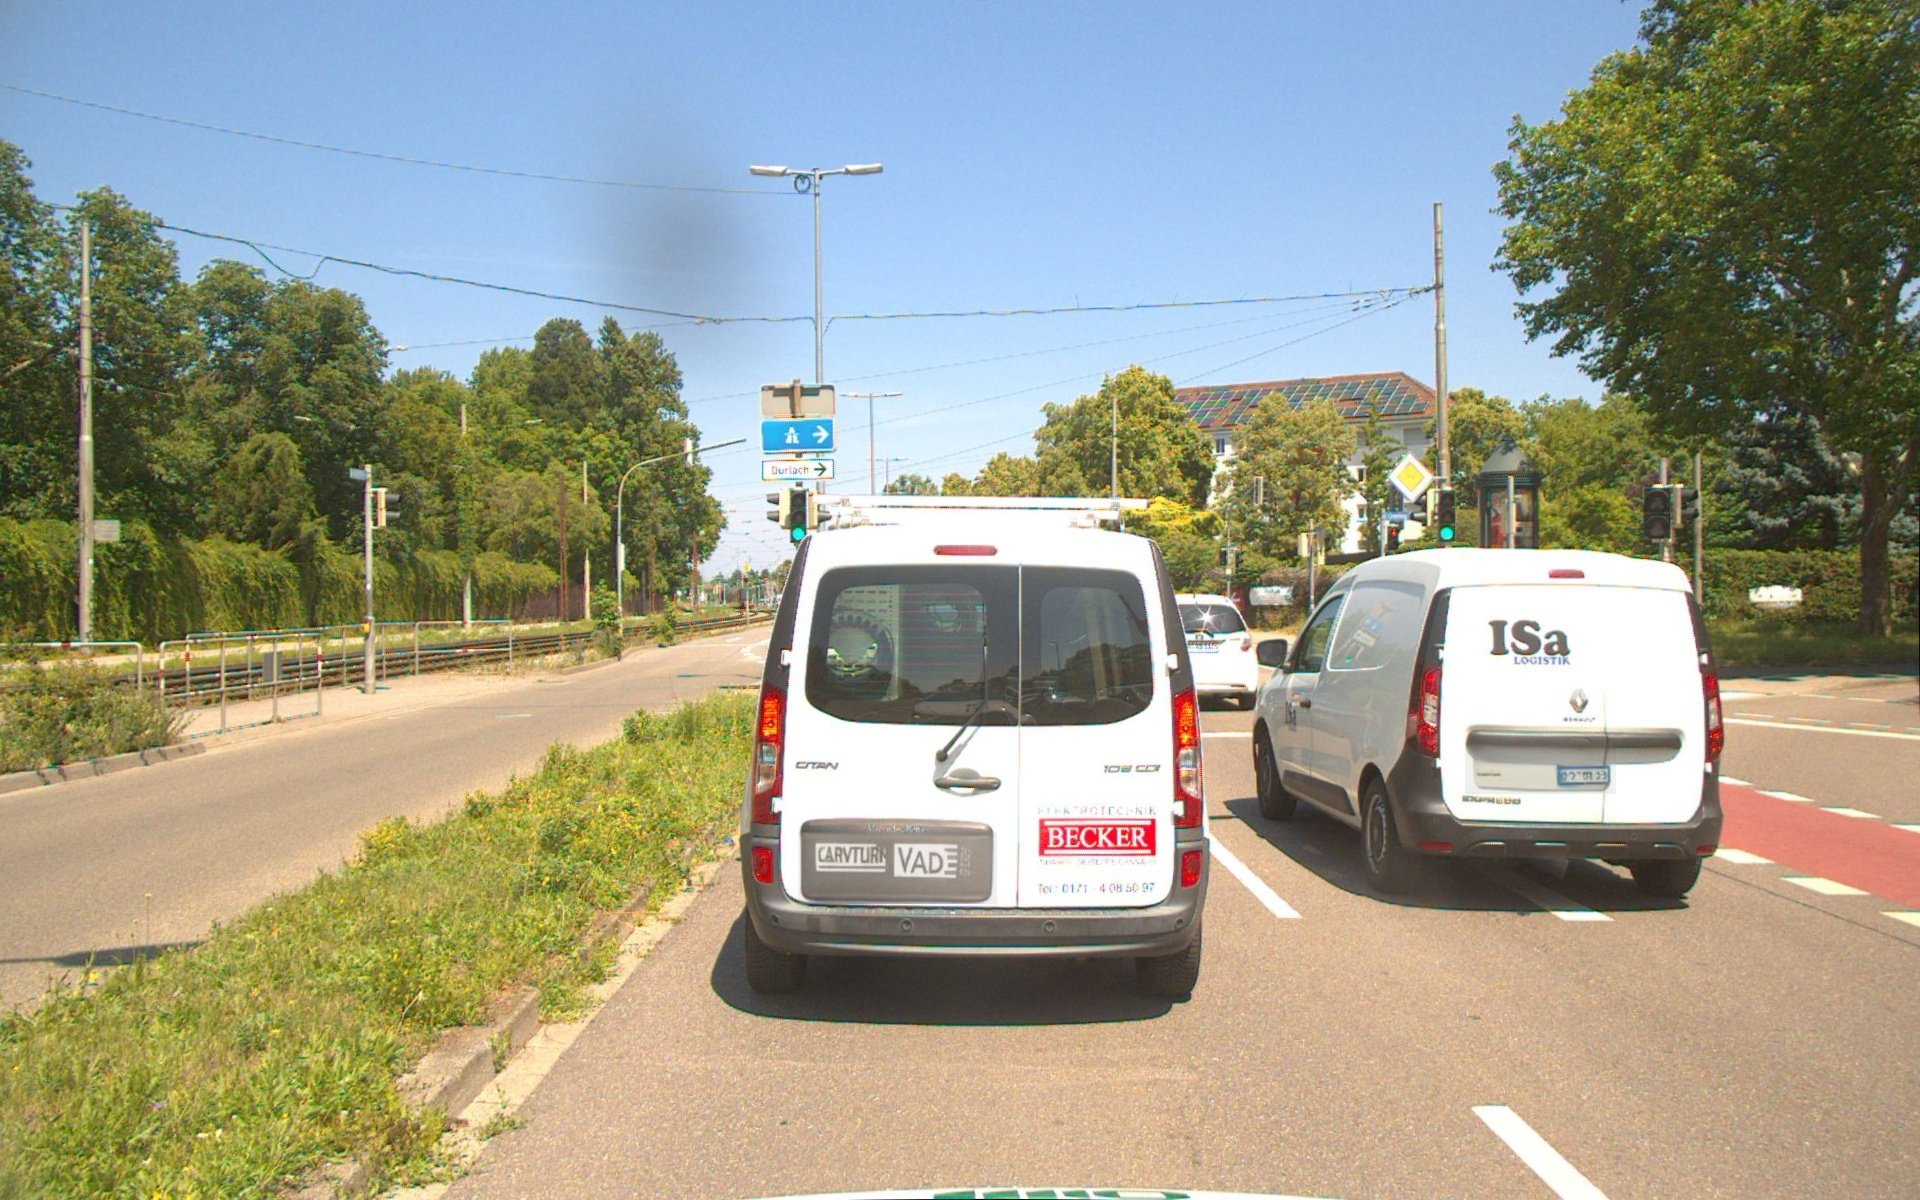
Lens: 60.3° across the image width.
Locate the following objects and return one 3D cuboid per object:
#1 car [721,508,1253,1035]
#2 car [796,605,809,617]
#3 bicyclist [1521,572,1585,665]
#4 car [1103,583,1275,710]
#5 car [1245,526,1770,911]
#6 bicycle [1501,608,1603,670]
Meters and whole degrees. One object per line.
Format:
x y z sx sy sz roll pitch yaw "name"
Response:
0.063 0.574 7.772 1.784 1.770 4.395 0 0 -1 "car"
-21.731 1.509 228.580 1.665 1.539 4.060 -1 0 -7 "car"
11.736 0.358 32.738 0.959 1.819 0.722 0 0 -20 "bicyclist"
3.119 0.577 23.286 1.798 1.596 3.999 1 1 -1 "car"
2.982 0.572 9.958 1.693 1.819 4.063 1 0 -2 "car"
11.699 0.752 32.757 0.879 1.179 1.945 0 0 -19 "bicycle"
